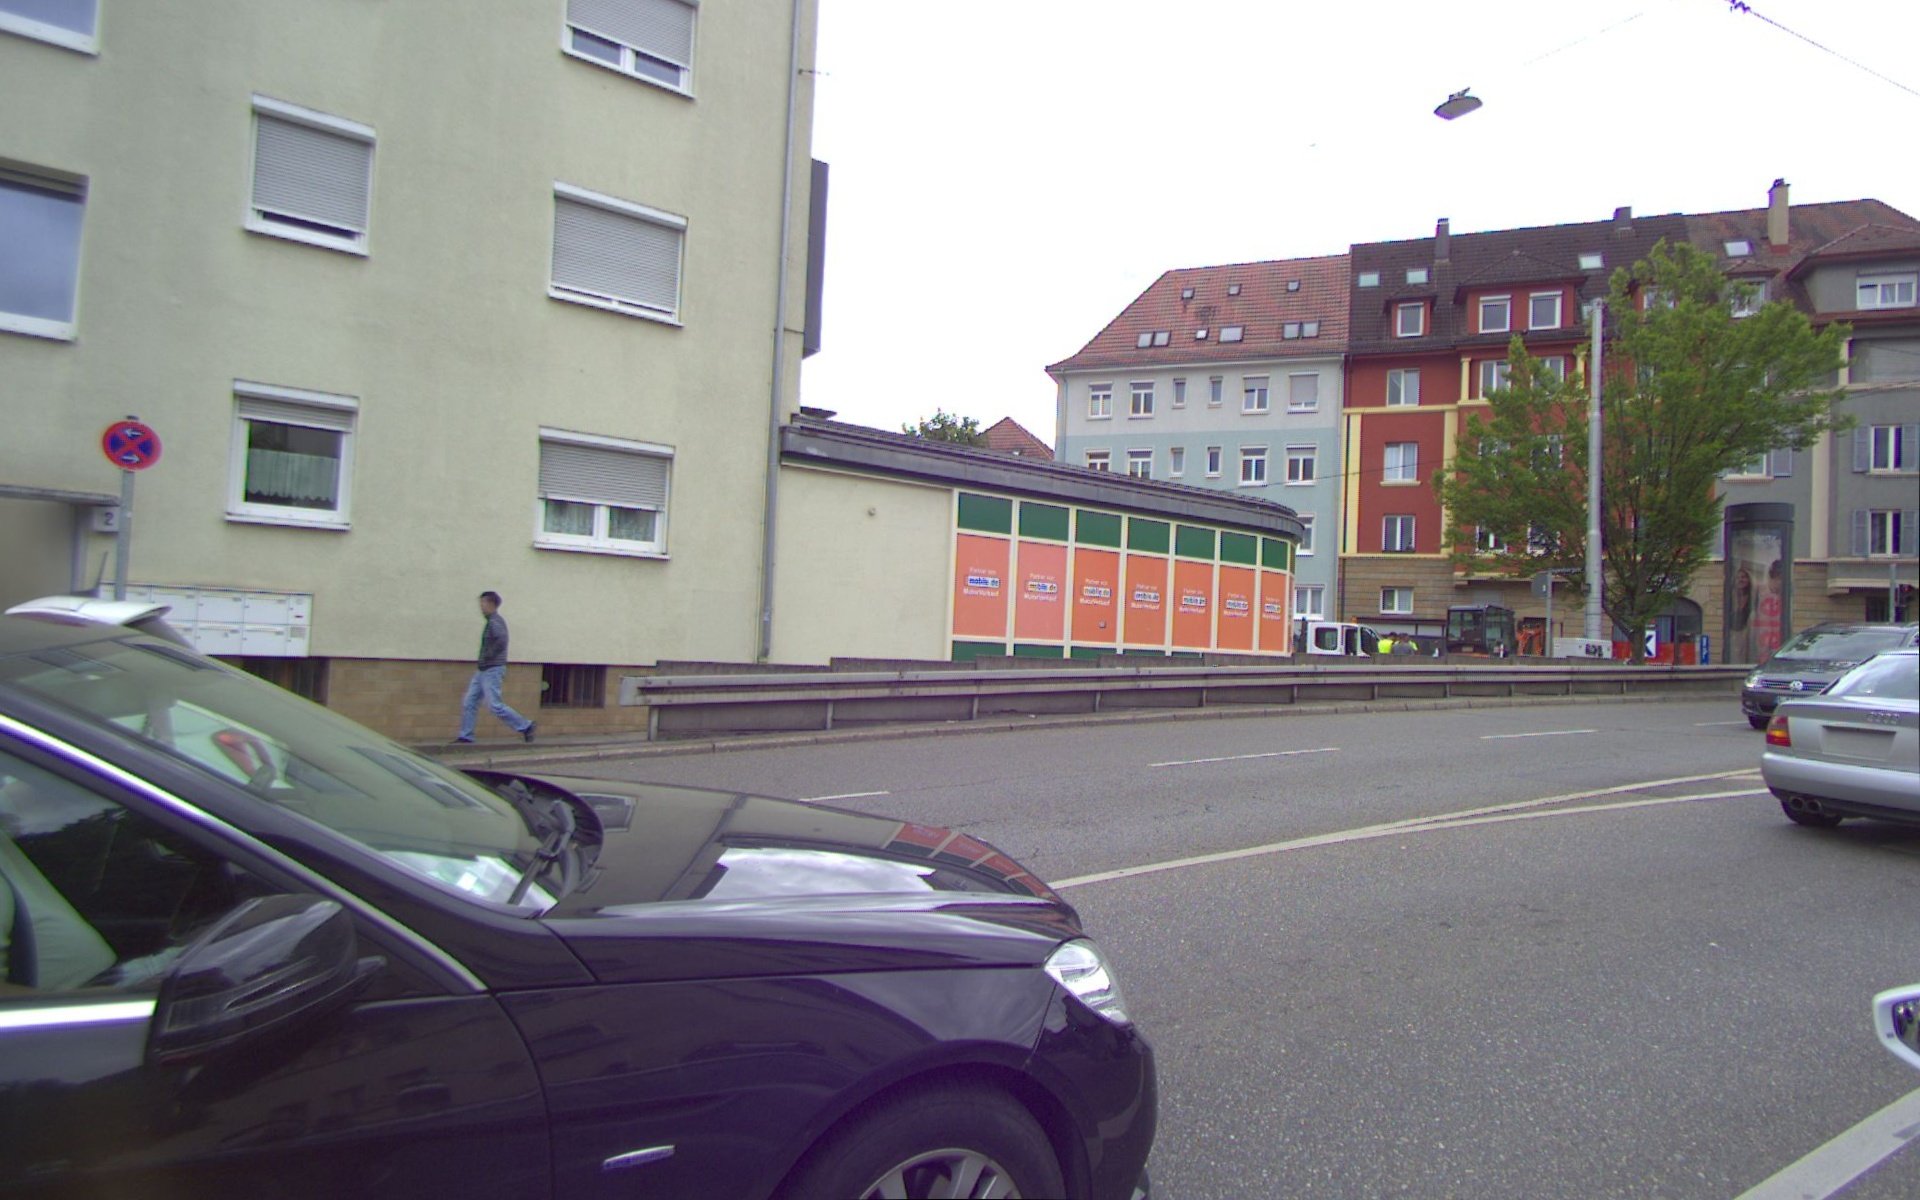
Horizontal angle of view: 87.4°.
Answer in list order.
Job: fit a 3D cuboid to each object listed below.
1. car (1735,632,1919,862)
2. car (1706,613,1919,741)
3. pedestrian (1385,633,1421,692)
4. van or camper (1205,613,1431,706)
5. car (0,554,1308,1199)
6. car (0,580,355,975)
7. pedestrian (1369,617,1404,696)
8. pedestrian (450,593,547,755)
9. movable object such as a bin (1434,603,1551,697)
[{"bbox_3d":[7.702,0.976,7.276,4.072,1.383,1.624,1,0,-25],"label":"car"},{"bbox_3d":[14.016,1.129,15.597,4.653,1.737,1.899,2,-1,-24],"label":"car"},{"bbox_3d":[10.618,1.482,24.088,0.613,1.381,0.602,1,-1,3],"label":"pedestrian"},{"bbox_3d":[10.342,1.626,29.040,5.892,2.369,2.687,1,-1,25],"label":"van or camper"},{"bbox_3d":[-1.836,0.668,1.668,4.787,1.448,1.983,2,-1,-31],"label":"car"},{"bbox_3d":[-4.511,0.649,4.052,3.492,1.466,1.588,2,-1,-33],"label":"car"},{"bbox_3d":[11.238,1.474,26.485,0.810,2.040,0.680,1,-1,21],"label":"pedestrian"},{"bbox_3d":[-4.968,0.774,10.818,0.773,1.658,0.682,2,-1,-40],"label":"pedestrian"},{"bbox_3d":[12.464,1.150,23.444,3.511,2.040,1.362,2,-2,-43],"label":"movable object such as a bin"}]
